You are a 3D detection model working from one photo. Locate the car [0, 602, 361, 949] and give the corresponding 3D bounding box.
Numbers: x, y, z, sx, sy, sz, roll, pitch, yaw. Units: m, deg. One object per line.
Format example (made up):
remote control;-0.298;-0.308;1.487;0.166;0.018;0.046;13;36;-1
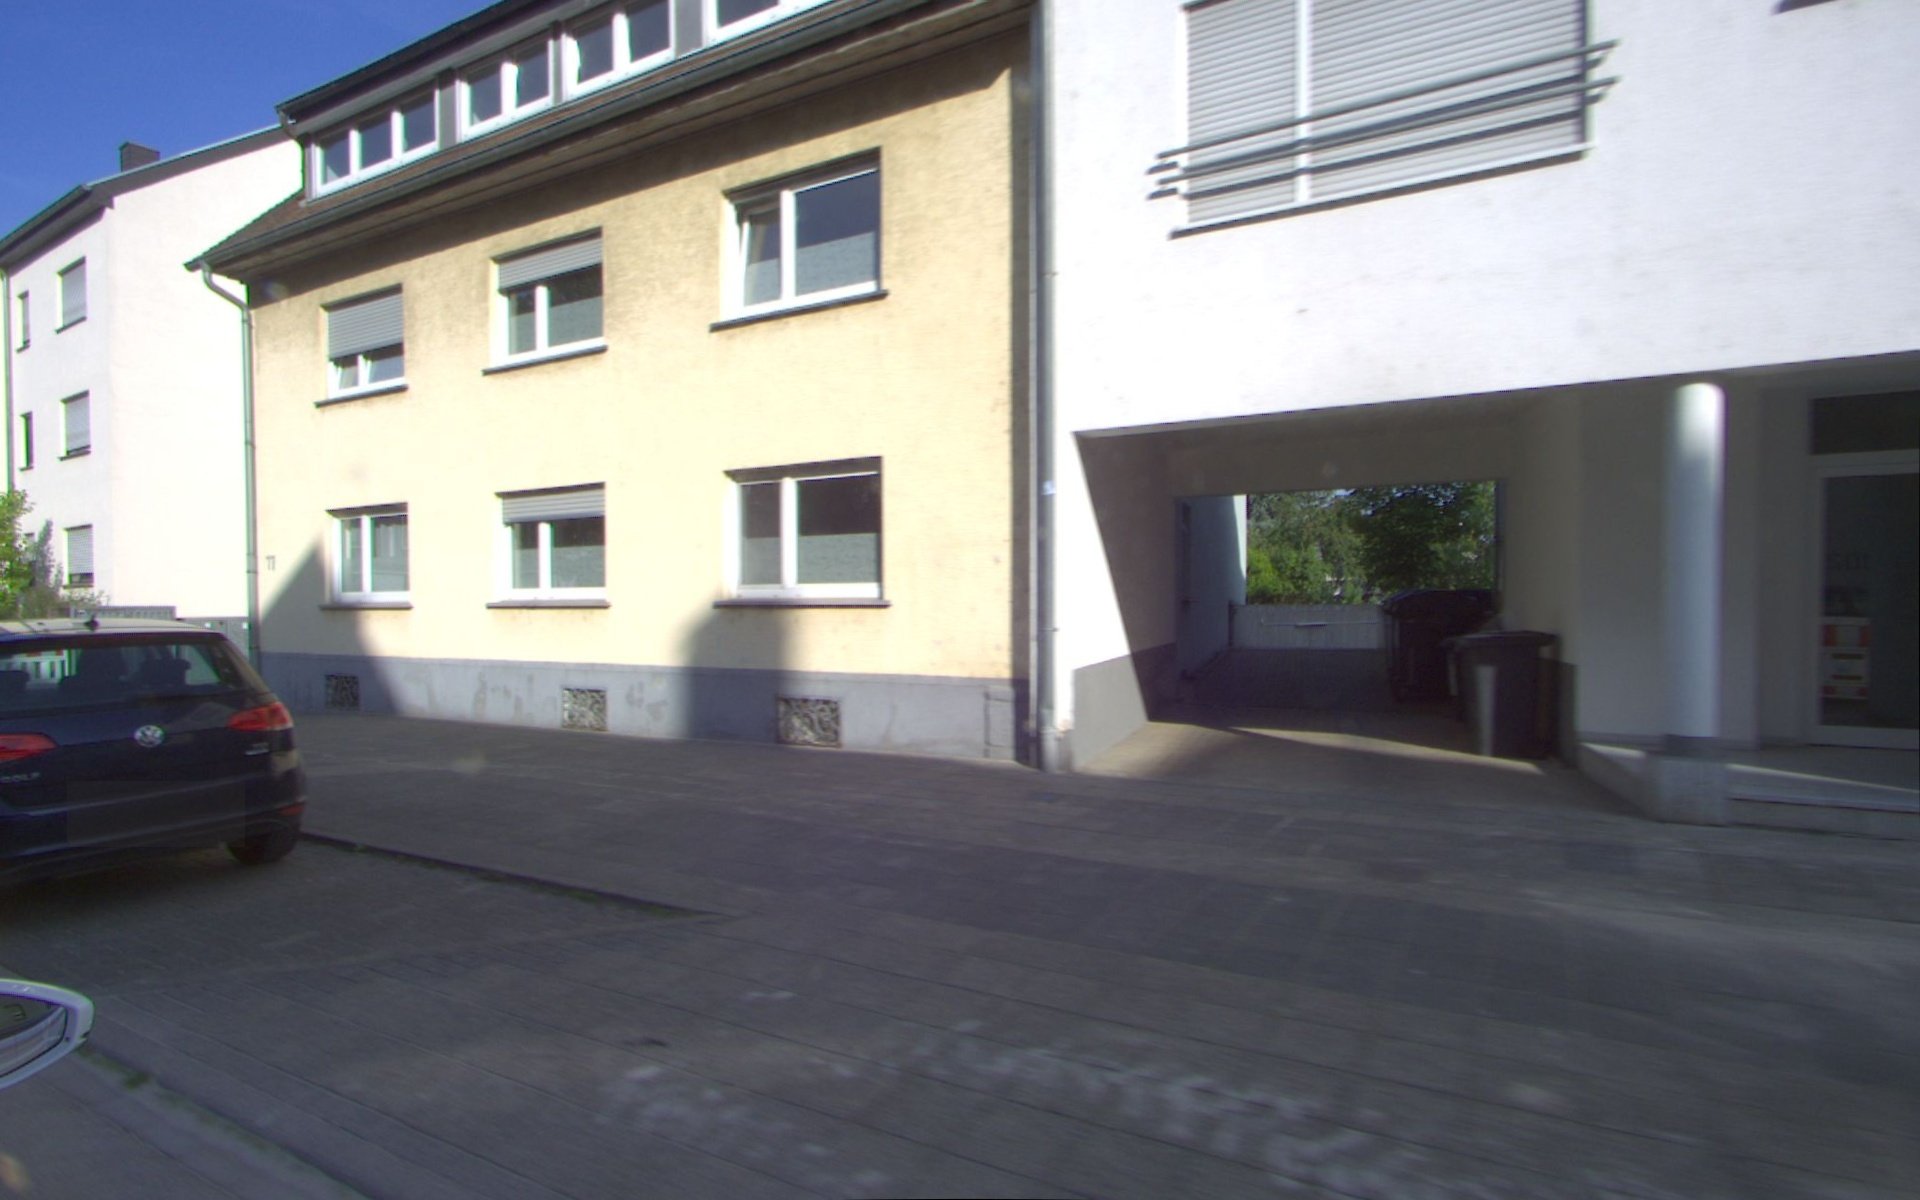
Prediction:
car;-5.529;0.787;5.929;3.886;1.502;1.826;0;1;32
